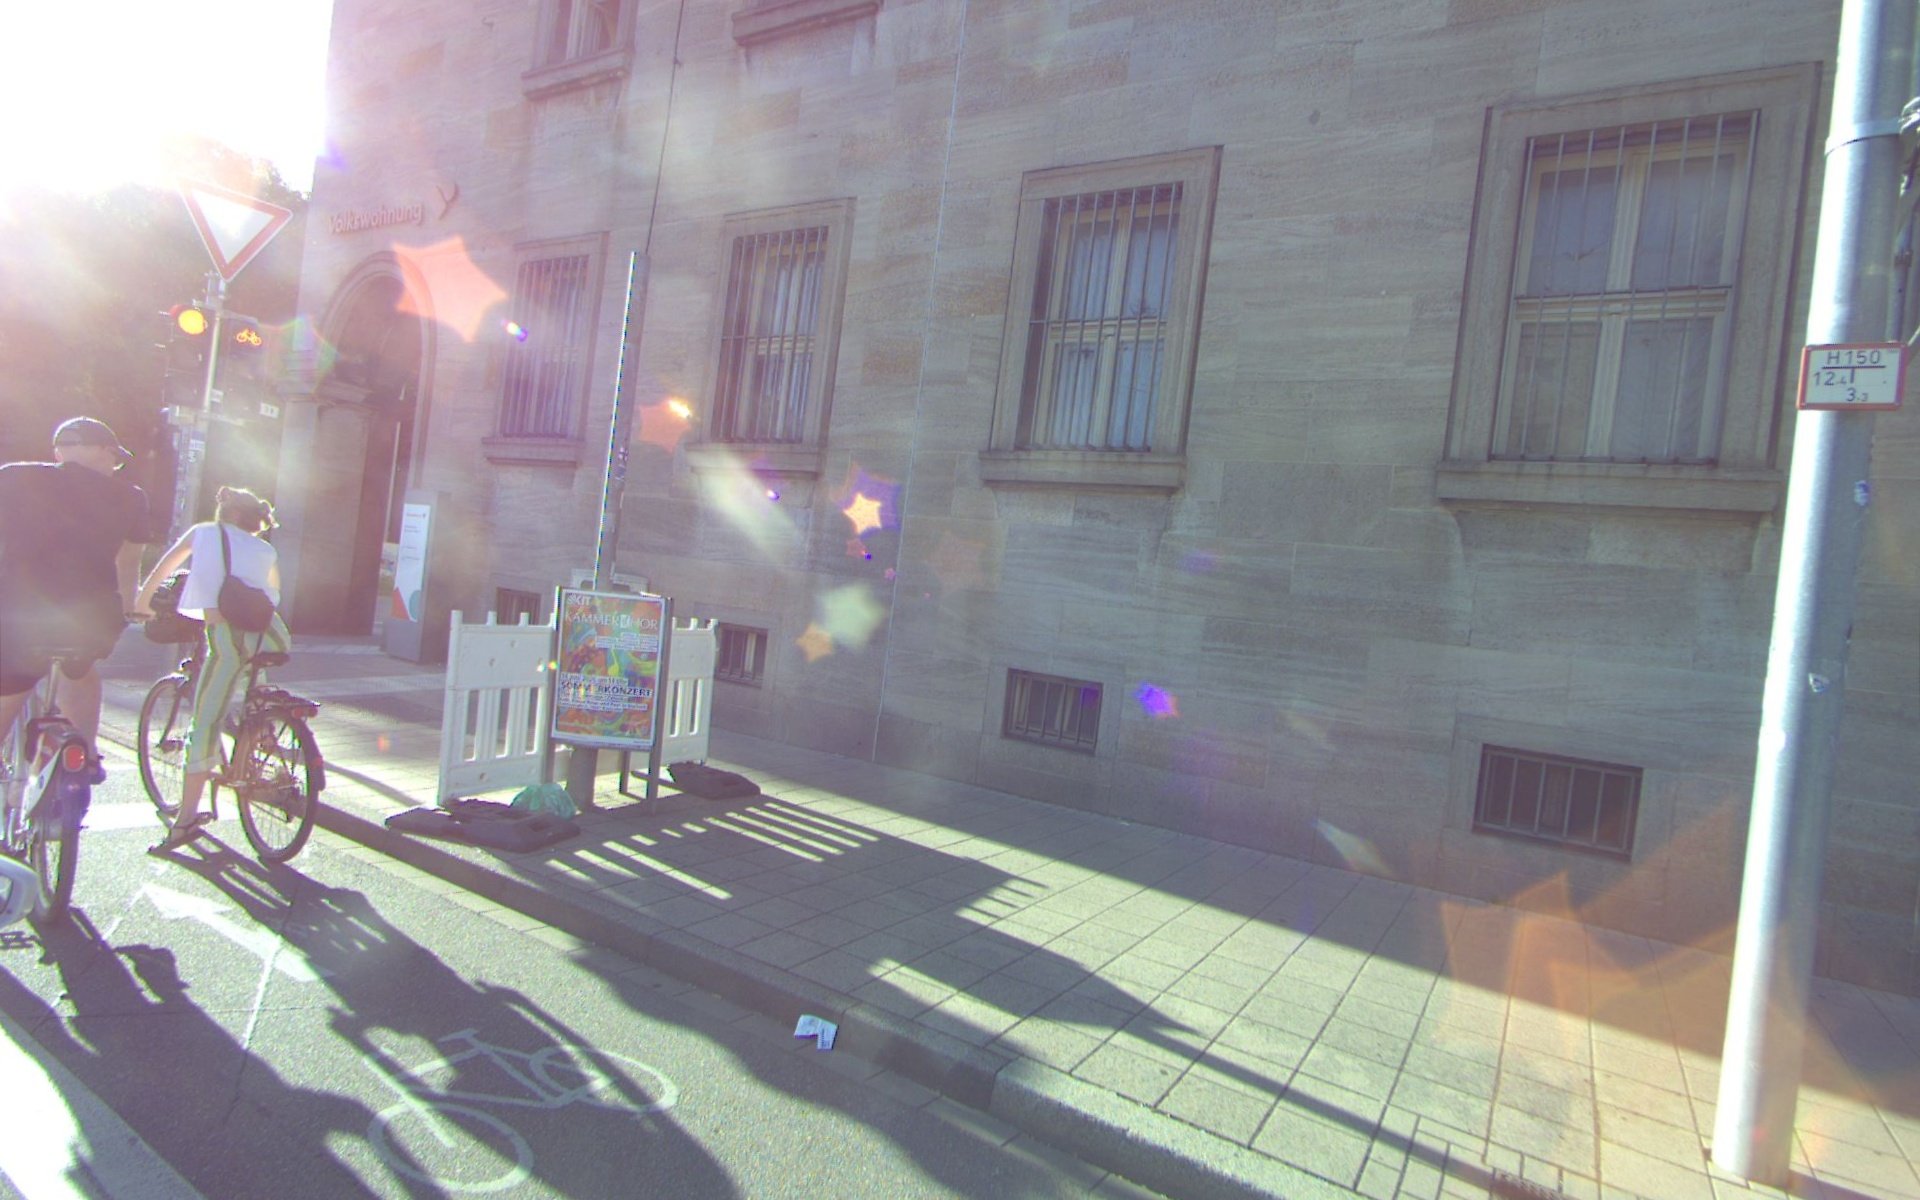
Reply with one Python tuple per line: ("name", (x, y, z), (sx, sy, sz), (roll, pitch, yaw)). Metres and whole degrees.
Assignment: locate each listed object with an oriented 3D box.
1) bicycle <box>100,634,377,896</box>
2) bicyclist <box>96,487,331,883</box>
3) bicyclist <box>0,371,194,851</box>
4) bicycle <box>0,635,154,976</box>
("bicycle", (-3.606, 0.731, 4.955), (1.920, 0.887, 0.427), (7, 0, 35))
("bicyclist", (-3.581, 0.365, 4.820), (0.845, 1.700, 0.522), (7, 1, 35))
("bicyclist", (-3.530, 0.040, 3.887), (0.648, 1.698, 0.668), (7, 1, 42))
("bicycle", (-3.725, 0.702, 4.006), (1.923, 0.916, 0.388), (7, 0, 41))
